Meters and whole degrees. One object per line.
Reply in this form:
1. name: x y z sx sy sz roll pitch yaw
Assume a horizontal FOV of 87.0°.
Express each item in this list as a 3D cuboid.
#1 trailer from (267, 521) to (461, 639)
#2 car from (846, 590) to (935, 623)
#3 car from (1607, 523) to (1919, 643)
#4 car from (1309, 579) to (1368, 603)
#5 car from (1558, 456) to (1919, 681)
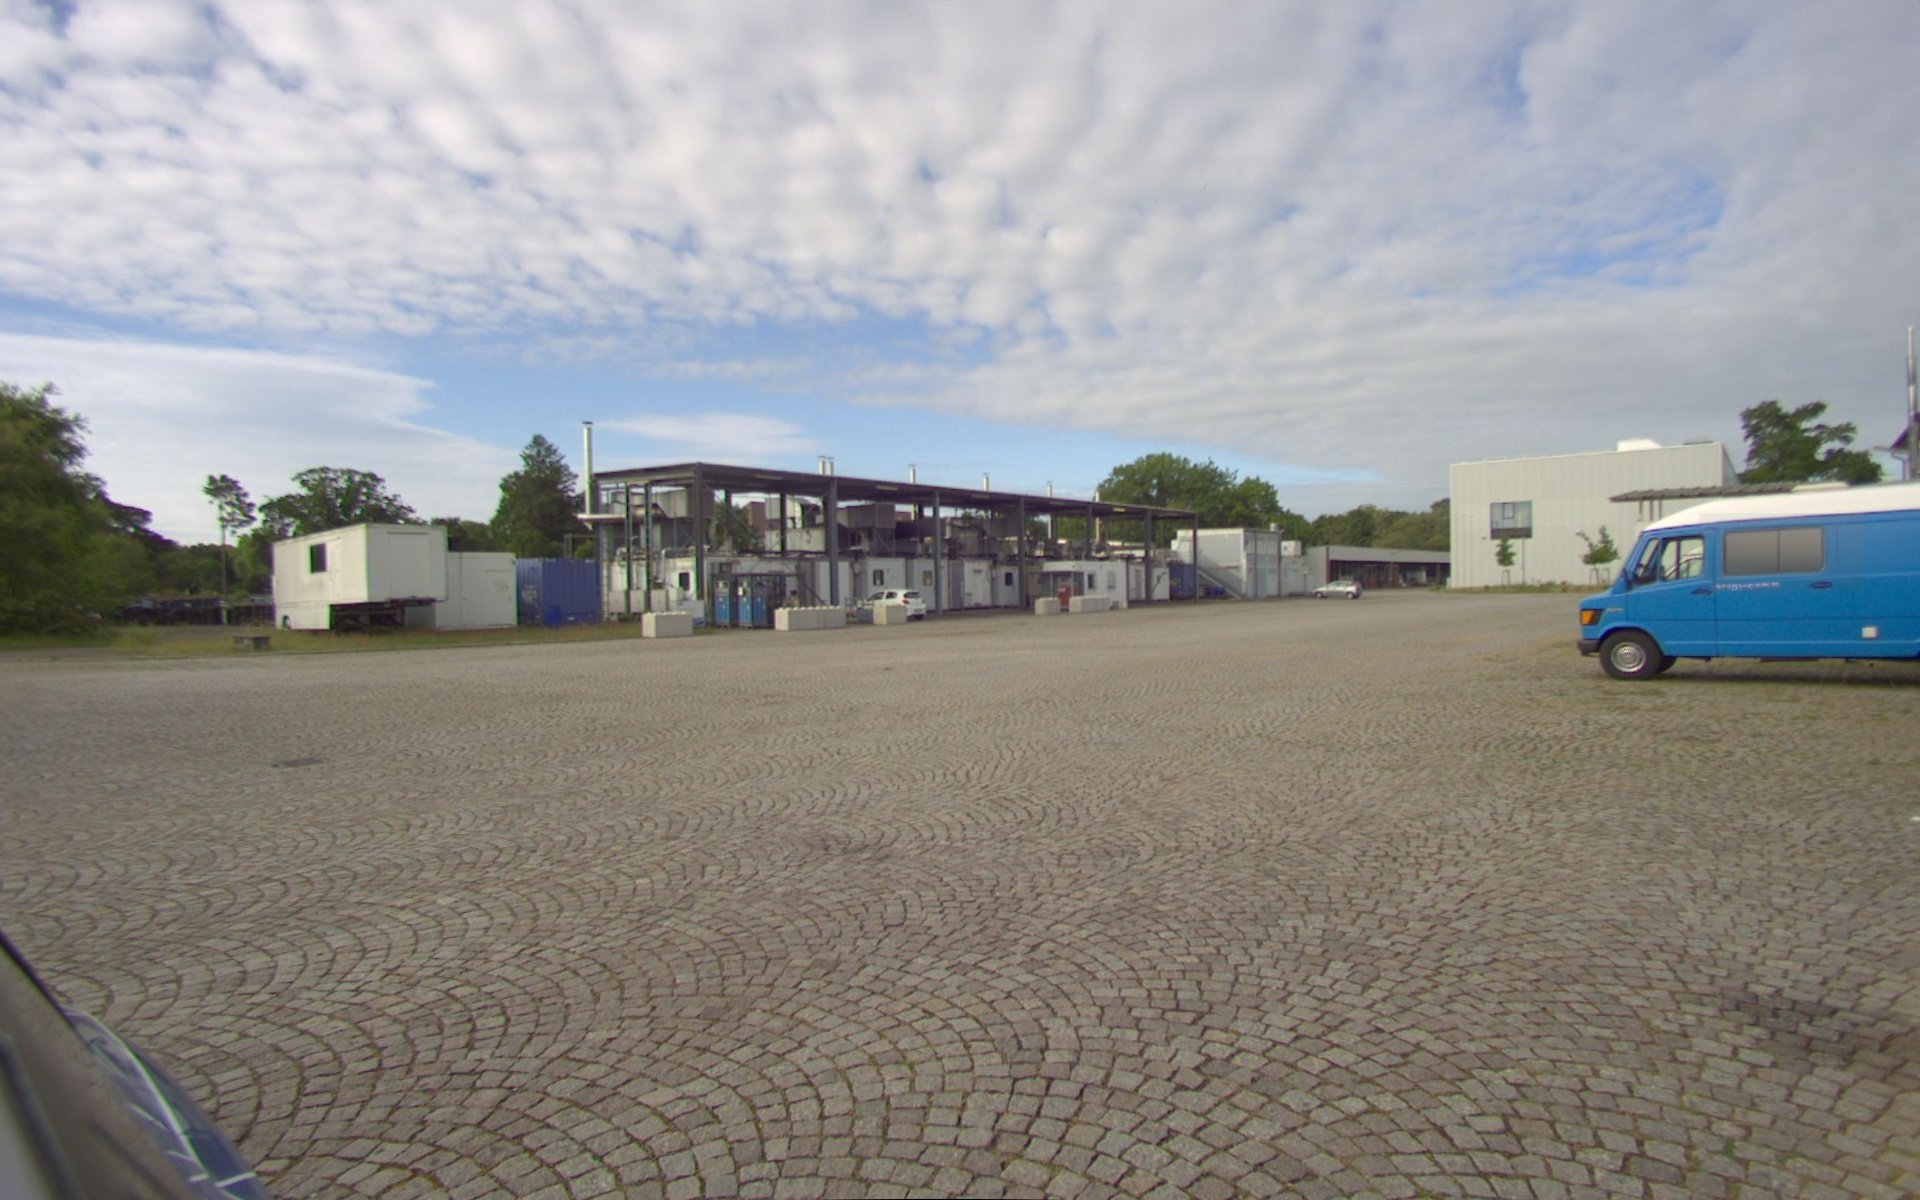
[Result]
1. trailer: -21.482 -0.589 36.072 10.775 3.689 2.838 -1 0 42
2. car: -3.346 0.313 48.309 3.994 1.484 1.910 0 -1 37
3. car: 15.894 -0.257 20.223 4.685 2.125 1.972 -2 0 43
4. car: 32.077 -0.771 85.775 4.301 1.961 1.975 -1 0 37
5. car: 11.067 -0.360 13.081 5.397 2.602 1.972 -2 0 43
